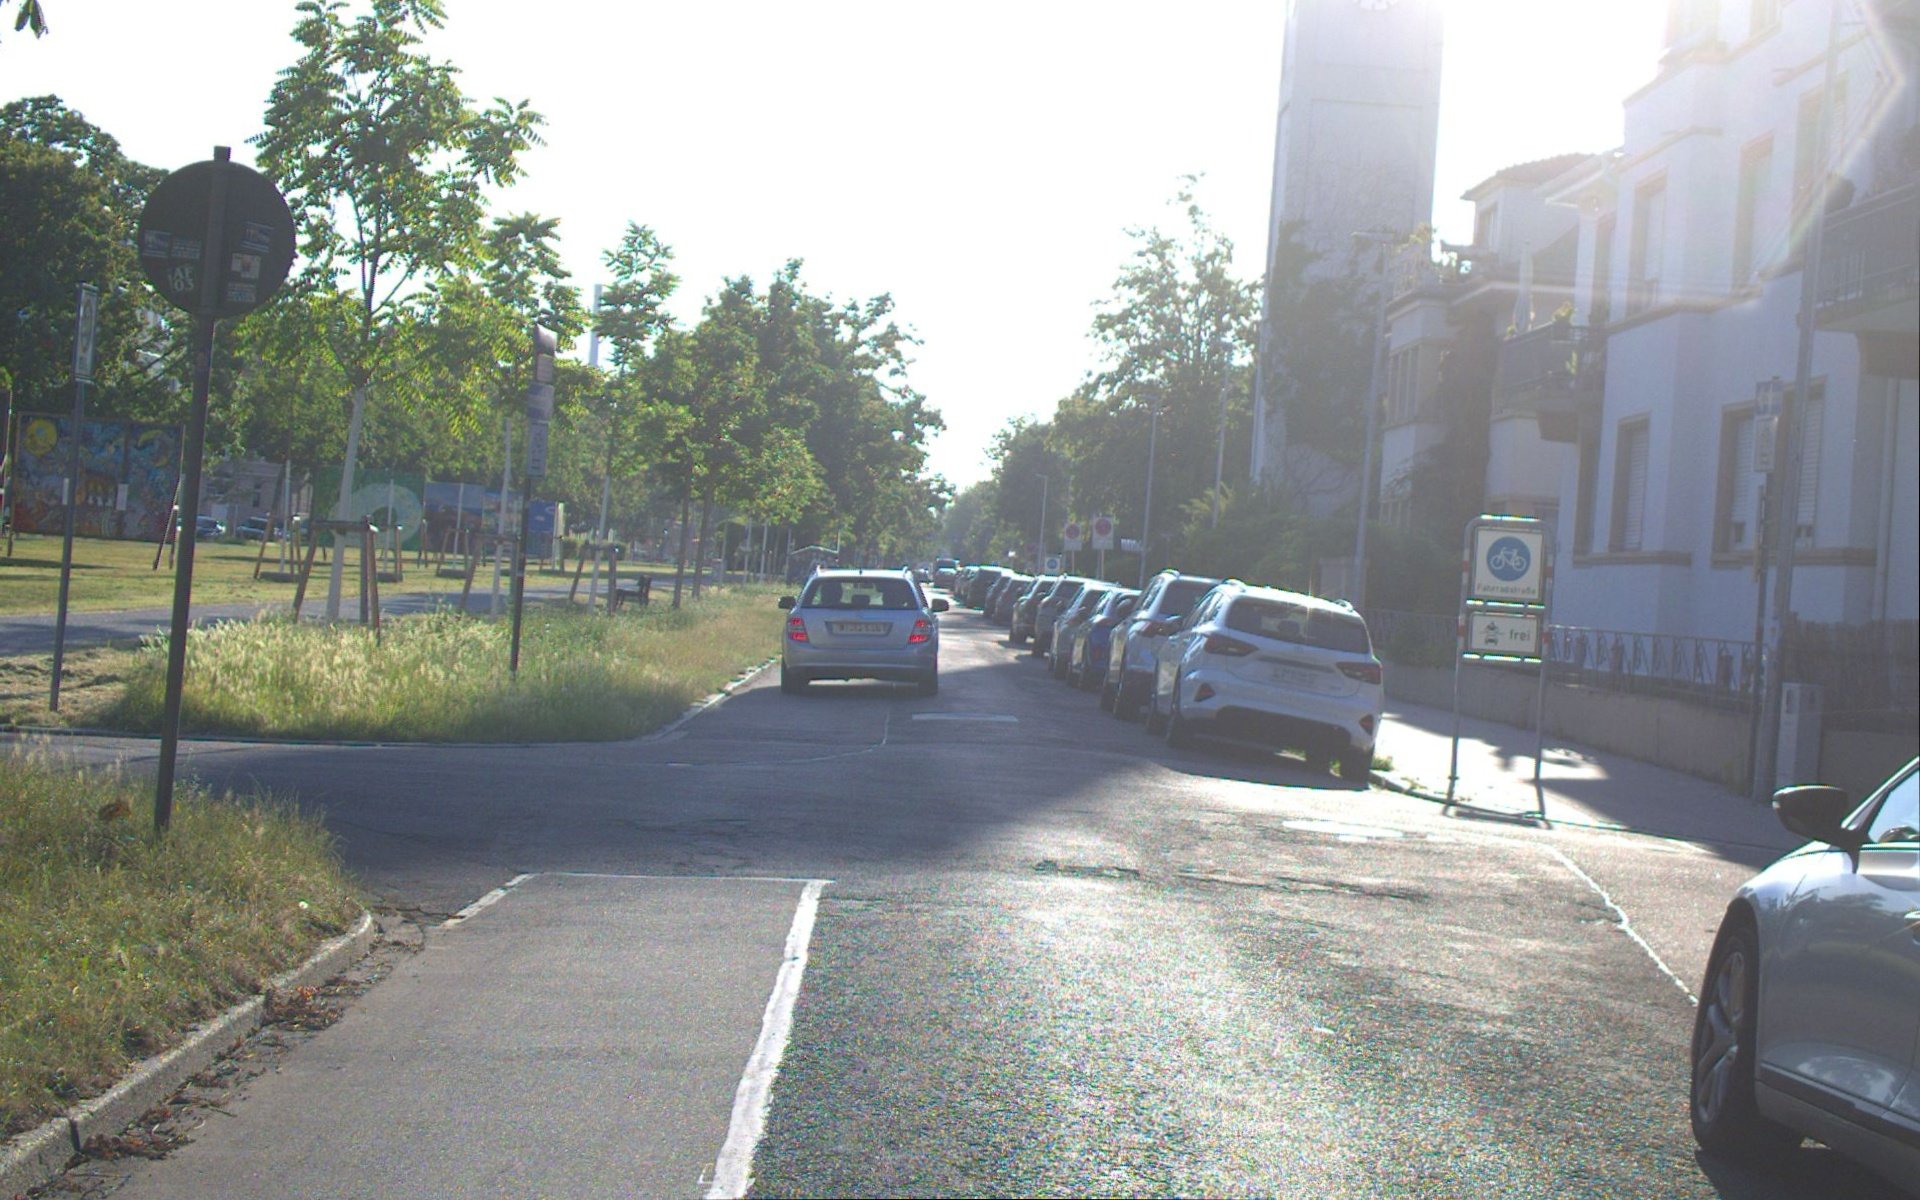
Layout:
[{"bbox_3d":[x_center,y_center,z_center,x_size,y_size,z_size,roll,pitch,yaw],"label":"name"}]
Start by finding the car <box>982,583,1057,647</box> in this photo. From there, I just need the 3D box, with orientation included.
[{"bbox_3d":[1.684,0.401,98.292,1.993,1.624,4.000,4,1,0],"label":"car"}]

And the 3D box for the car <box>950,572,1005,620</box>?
[{"bbox_3d":[0.695,-0.180,133.037,1.980,1.677,4.000,4,1,0],"label":"car"}]

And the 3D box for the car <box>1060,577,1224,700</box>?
[{"bbox_3d":[2.400,0.486,46.152,1.761,1.415,4.000,4,1,-2],"label":"car"}]

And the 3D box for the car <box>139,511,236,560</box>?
[{"bbox_3d":[-36.915,-3.048,164.445,3.160,2.140,6.110,2,0,0],"label":"car"}]

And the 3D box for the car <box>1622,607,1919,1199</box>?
[{"bbox_3d":[2.917,0.901,7.941,1.757,1.415,4.072,10,1,0],"label":"car"}]

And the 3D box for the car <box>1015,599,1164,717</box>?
[{"bbox_3d":[1.900,0.835,51.584,1.761,1.415,4.000,8,0,-2],"label":"car"}]

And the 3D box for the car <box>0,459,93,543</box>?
[{"bbox_3d":[-35.676,-3.783,131.395,3.160,2.982,6.893,2,0,0],"label":"car"}]

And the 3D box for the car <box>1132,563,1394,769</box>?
[{"bbox_3d":[2.672,0.535,31.258,1.758,1.599,4.359,4,1,-2],"label":"car"}]

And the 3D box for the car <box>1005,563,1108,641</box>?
[{"bbox_3d":[2.004,0.018,72.321,1.993,1.459,4.000,4,1,0],"label":"car"}]

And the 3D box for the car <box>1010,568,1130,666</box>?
[{"bbox_3d":[1.942,0.278,61.715,1.761,1.516,4.000,6,1,-2],"label":"car"}]

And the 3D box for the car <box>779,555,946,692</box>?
[{"bbox_3d":[-1.134,0.226,39.597,1.761,1.415,4.000,3,1,-2],"label":"car"}]

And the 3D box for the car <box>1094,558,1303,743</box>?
[{"bbox_3d":[2.516,0.490,37.181,1.685,1.645,4.100,9,1,-1],"label":"car"}]

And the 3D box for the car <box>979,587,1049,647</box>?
[{"bbox_3d":[1.632,0.492,104.948,1.993,1.624,4.000,4,1,0],"label":"car"}]
